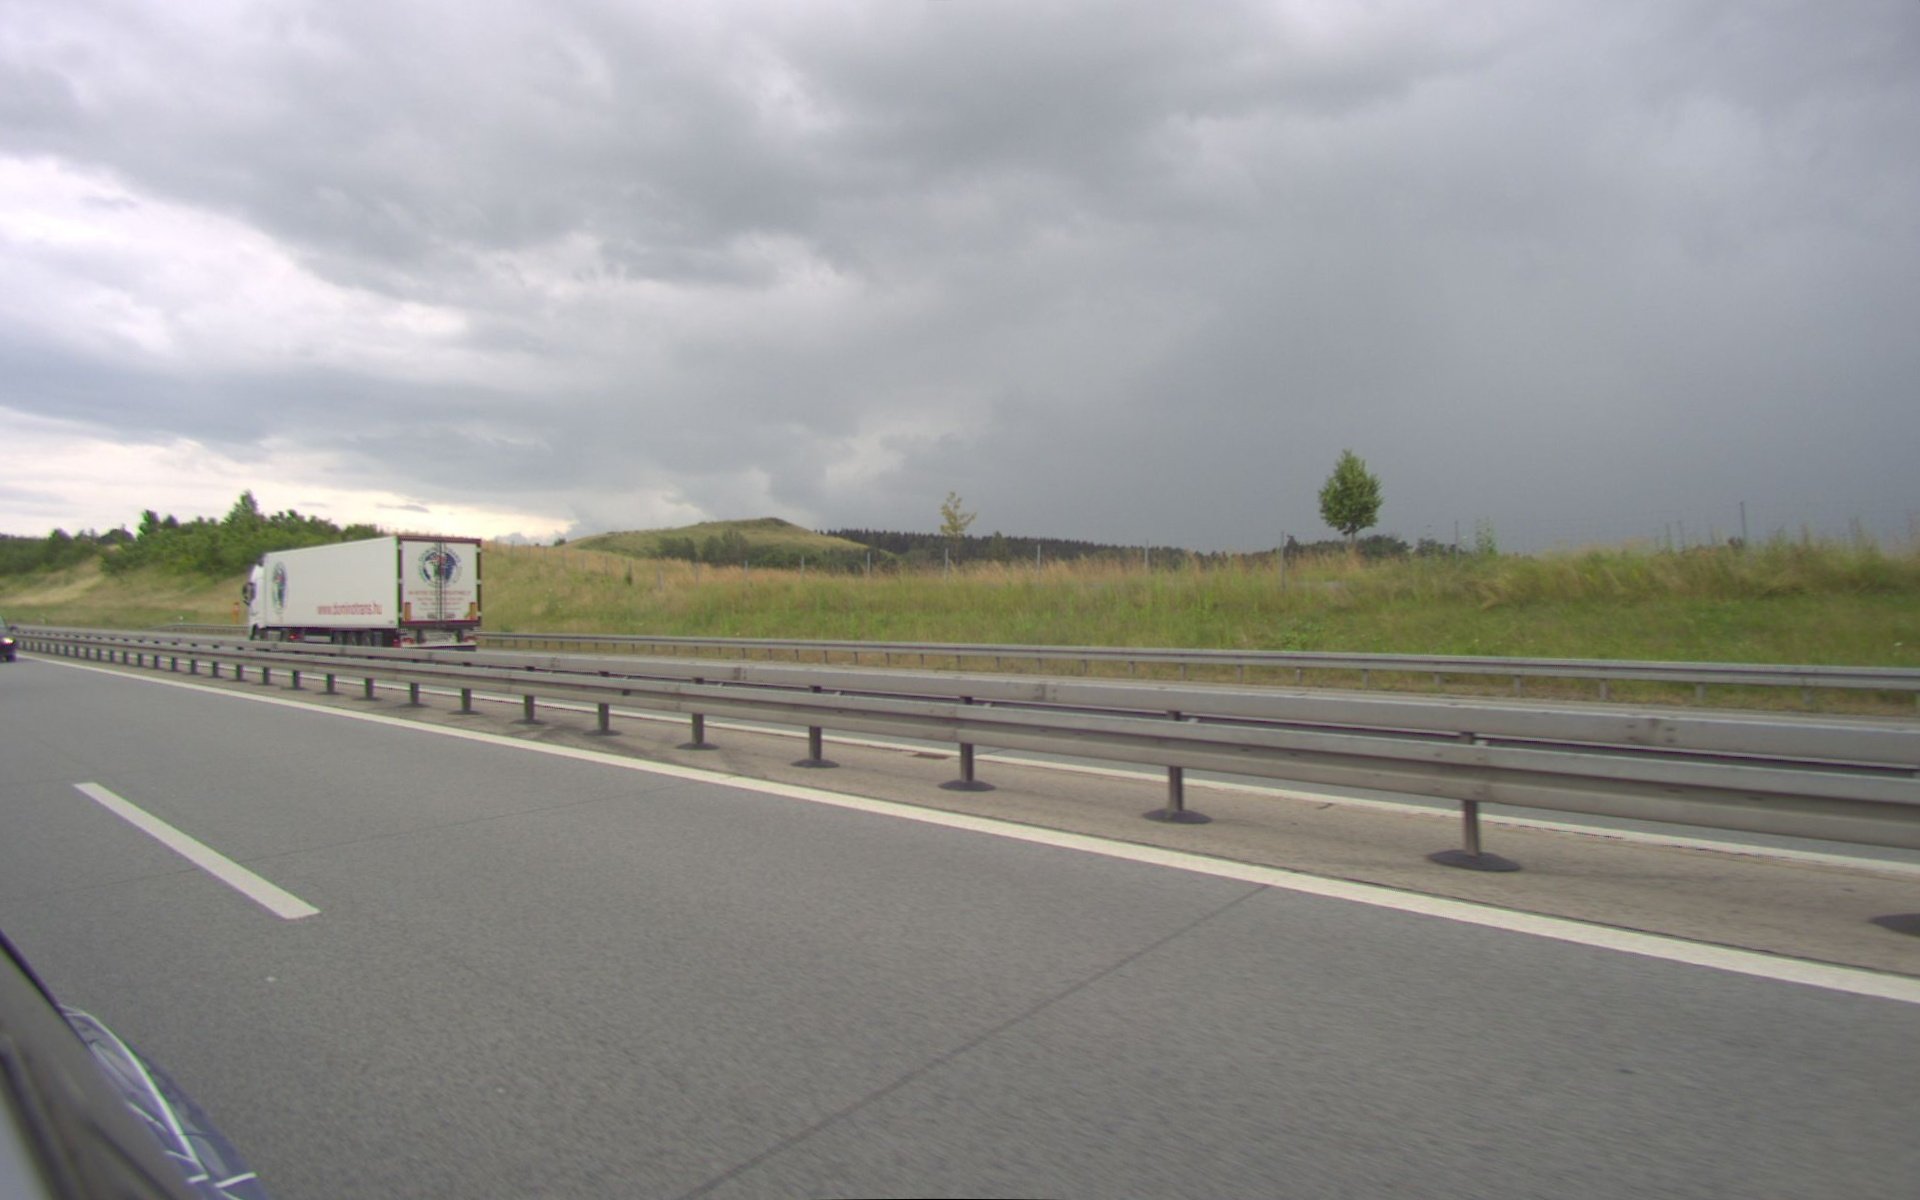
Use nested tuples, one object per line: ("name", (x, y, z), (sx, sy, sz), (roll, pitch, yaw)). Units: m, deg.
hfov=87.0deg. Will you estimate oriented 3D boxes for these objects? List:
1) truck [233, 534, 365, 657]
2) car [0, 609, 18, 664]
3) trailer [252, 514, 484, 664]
("truck", (-27.440, -0.119, 41.898), (6.916, 4.682, 2.766), (-1, -1, 41))
("car", (-31.465, 1.144, 32.101), (5.396, 1.683, 1.876), (-1, -1, 42))
("trailer", (-22.339, -0.222, 37.466), (14.838, 4.685, 2.766), (-1, -1, 41))
